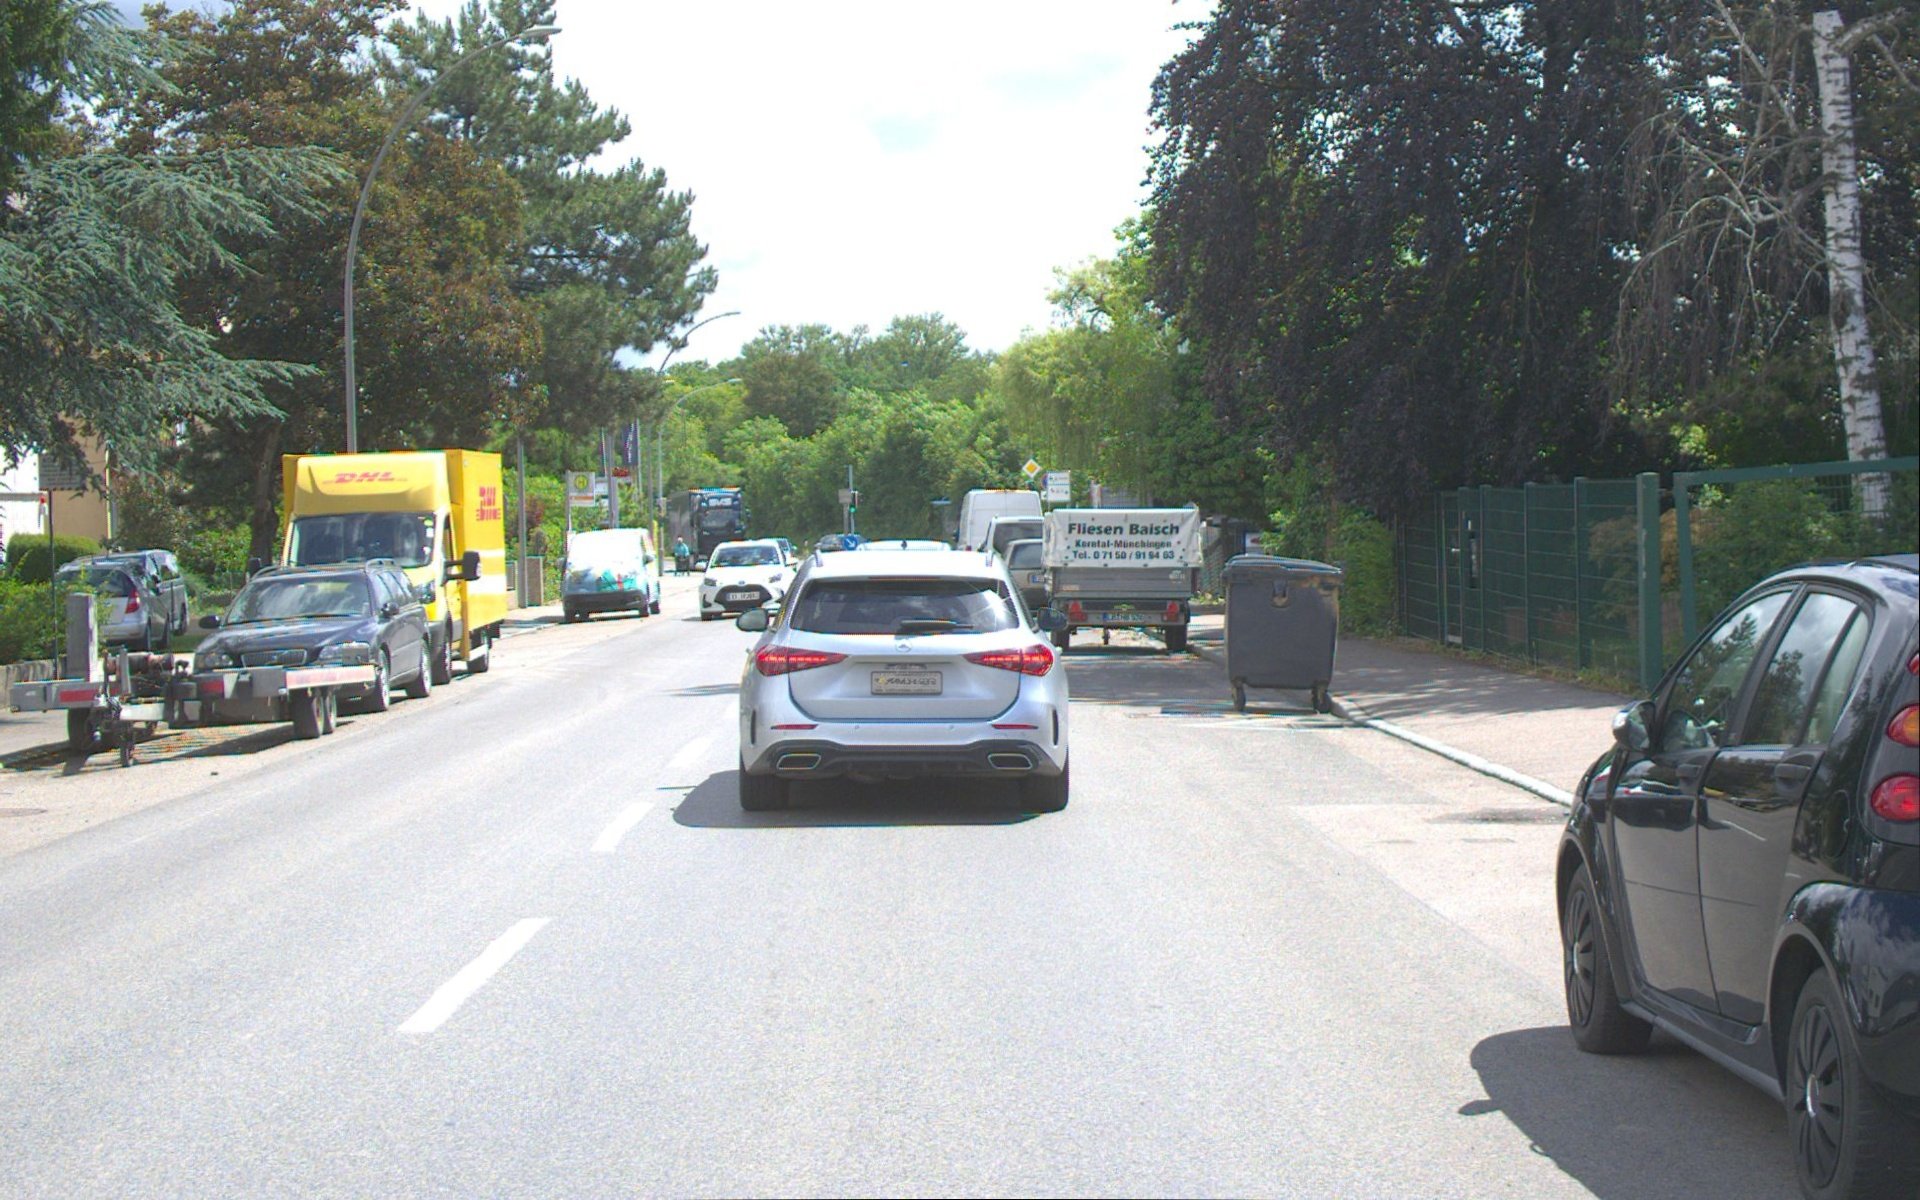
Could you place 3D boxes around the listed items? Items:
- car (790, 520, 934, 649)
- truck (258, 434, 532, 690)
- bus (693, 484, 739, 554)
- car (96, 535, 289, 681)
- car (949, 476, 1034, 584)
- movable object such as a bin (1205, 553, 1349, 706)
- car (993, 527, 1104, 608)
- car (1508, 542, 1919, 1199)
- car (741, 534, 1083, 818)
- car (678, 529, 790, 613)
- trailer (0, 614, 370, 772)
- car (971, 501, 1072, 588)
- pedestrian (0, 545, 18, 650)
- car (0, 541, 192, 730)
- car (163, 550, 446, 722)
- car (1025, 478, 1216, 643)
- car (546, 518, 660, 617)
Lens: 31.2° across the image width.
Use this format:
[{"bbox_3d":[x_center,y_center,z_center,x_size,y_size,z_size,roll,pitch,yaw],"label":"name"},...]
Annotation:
[{"bbox_3d":[-1.285,-0.238,44.552,1.755,1.553,4.001,-1,1,-2],"label":"car"},{"bbox_3d":[-6.802,-0.521,42.251,2.075,2.804,7.078,-2,2,0],"label":"truck"},{"bbox_3d":[-12.045,-4.001,169.494,1.993,3.352,6.984,1,1,-6],"label":"bus"},{"bbox_3d":[-11.258,0.076,50.673,1.993,2.007,4.000,1,1,-1],"label":"car"},{"bbox_3d":[0.735,-1.657,82.583,1.784,2.510,4.317,0,1,-3],"label":"car"},{"bbox_3d":[2.719,0.239,29.667,1.084,1.266,1.380,1,1,-1],"label":"movable object such as a bin"},{"bbox_3d":[1.648,-0.617,65.220,1.784,1.479,4.317,0,1,-3],"label":"car"},{"bbox_3d":[2.580,0.596,8.727,1.689,1.445,3.849,-2,1,-1],"label":"car"},{"bbox_3d":[-0.357,0.370,20.134,1.784,1.479,4.317,0,1,-3],"label":"car"},{"bbox_3d":[-4.379,-0.598,67.200,1.934,1.487,4.364,-2,1,-1],"label":"car"},{"bbox_3d":[-6.254,0.679,27.562,2.228,0.921,5.949,-1,2,-2],"label":"trailer"},{"bbox_3d":[1.230,-1.123,70.351,1.784,1.709,4.317,0,1,-3],"label":"car"},{"bbox_3d":[-17.758,-0.079,56.702,3.986,1.700,2.000,1,1,-5],"label":"pedestrian"},{"bbox_3d":[-10.278,0.354,39.668,1.993,2.007,4.001,1,1,-1],"label":"car"},{"bbox_3d":[-6.460,0.305,34.359,2.075,1.473,4.457,-2,2,-2],"label":"car"},{"bbox_3d":[2.033,-0.542,45.105,2.144,1.977,5.261,-2,1,-1],"label":"car"},{"bbox_3d":[-7.391,-0.711,71.493,1.934,1.912,4.364,-2,1,-1],"label":"car"}]
